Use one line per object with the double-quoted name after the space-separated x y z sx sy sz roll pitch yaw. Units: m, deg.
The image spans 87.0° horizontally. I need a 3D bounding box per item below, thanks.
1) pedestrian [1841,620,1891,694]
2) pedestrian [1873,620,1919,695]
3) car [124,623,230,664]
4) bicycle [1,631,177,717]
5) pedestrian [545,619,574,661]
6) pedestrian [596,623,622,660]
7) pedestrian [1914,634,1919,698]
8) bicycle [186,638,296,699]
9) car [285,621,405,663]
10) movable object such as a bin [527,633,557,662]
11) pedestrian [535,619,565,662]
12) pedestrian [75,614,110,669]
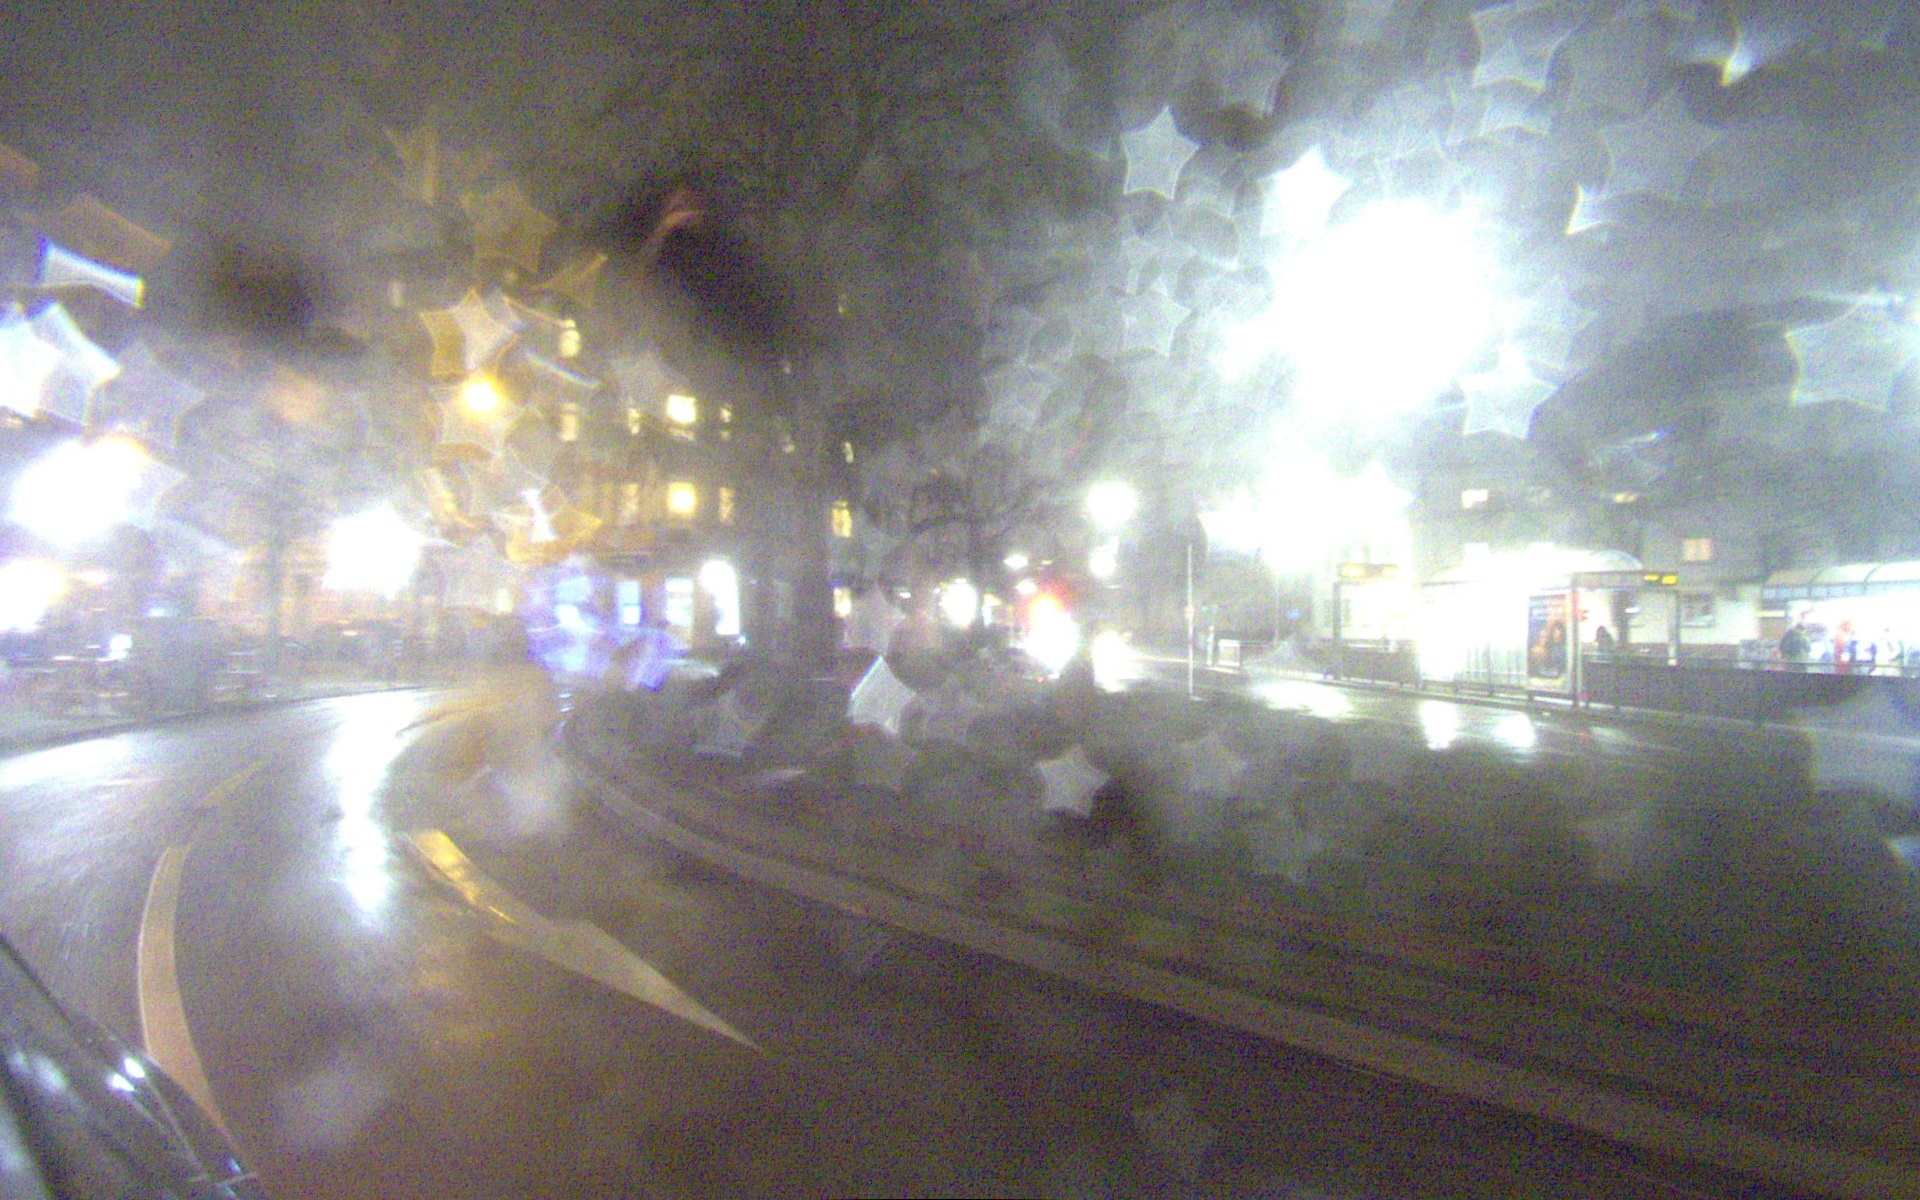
19.651 1.222 21.957 0.503 1.559 0.577 -2 -1 -21 "pedestrian"
19.849 1.211 21.403 0.471 1.540 0.588 -2 -1 -21 "pedestrian"
-35.344 1.945 45.700 4.256 1.716 1.868 -1 0 21 "car"
-13.101 1.099 15.288 1.843 1.226 0.732 1 -2 -18 "bicycle"
-16.304 1.634 41.177 0.835 1.650 0.631 -2 -1 14 "pedestrian"
-14.325 1.692 41.329 0.763 1.504 0.630 -3 -1 21 "pedestrian"
19.681 1.328 20.382 0.624 1.263 0.576 -3 -1 43 "pedestrian"
-13.530 1.277 19.088 1.597 1.090 0.566 0 1 -19 "bicycle"
-25.525 1.731 42.000 4.461 1.605 1.877 -1 0 19 "car"
-17.108 1.935 41.392 0.914 1.124 0.631 -2 -1 15 "movable object such as a bin"
-16.410 1.621 40.527 0.866 1.650 0.631 -2 -1 15 "pedestrian"
-28.400 1.363 33.151 0.678 1.777 1.046 0 -3 -29 "pedestrian"
